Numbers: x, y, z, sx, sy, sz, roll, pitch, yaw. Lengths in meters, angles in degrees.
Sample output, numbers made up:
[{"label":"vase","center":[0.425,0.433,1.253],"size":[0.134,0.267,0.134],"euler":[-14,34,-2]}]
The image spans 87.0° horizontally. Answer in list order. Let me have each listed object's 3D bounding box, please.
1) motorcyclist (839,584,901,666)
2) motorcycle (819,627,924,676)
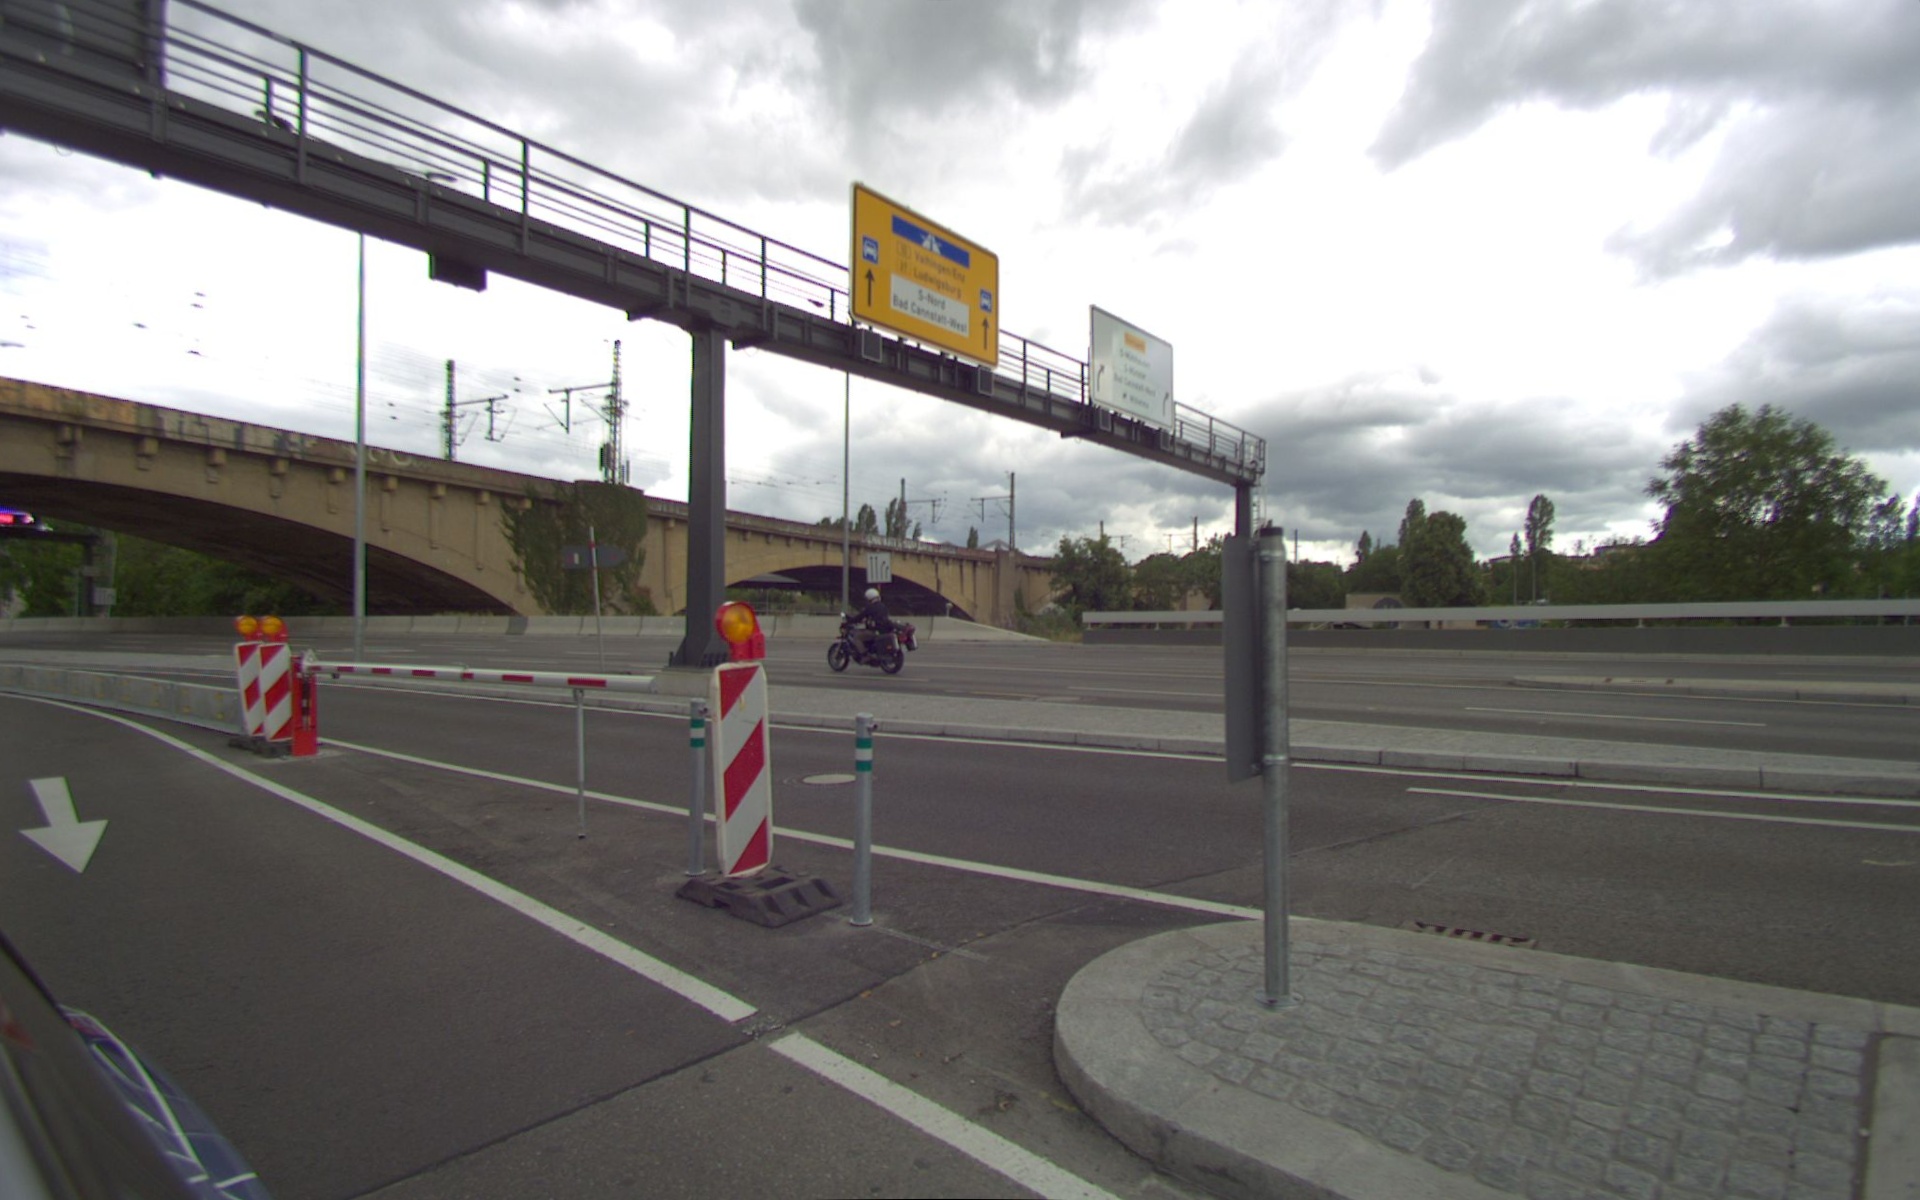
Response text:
[{"label":"motorcyclist","center":[-1.841,0.498,20.624],"size":[1.103,1.618,0.658],"euler":[-2,0,42]},{"label":"motorcycle","center":[-1.837,1.022,20.629],"size":[2.393,0.924,0.658],"euler":[-2,0,42]}]
